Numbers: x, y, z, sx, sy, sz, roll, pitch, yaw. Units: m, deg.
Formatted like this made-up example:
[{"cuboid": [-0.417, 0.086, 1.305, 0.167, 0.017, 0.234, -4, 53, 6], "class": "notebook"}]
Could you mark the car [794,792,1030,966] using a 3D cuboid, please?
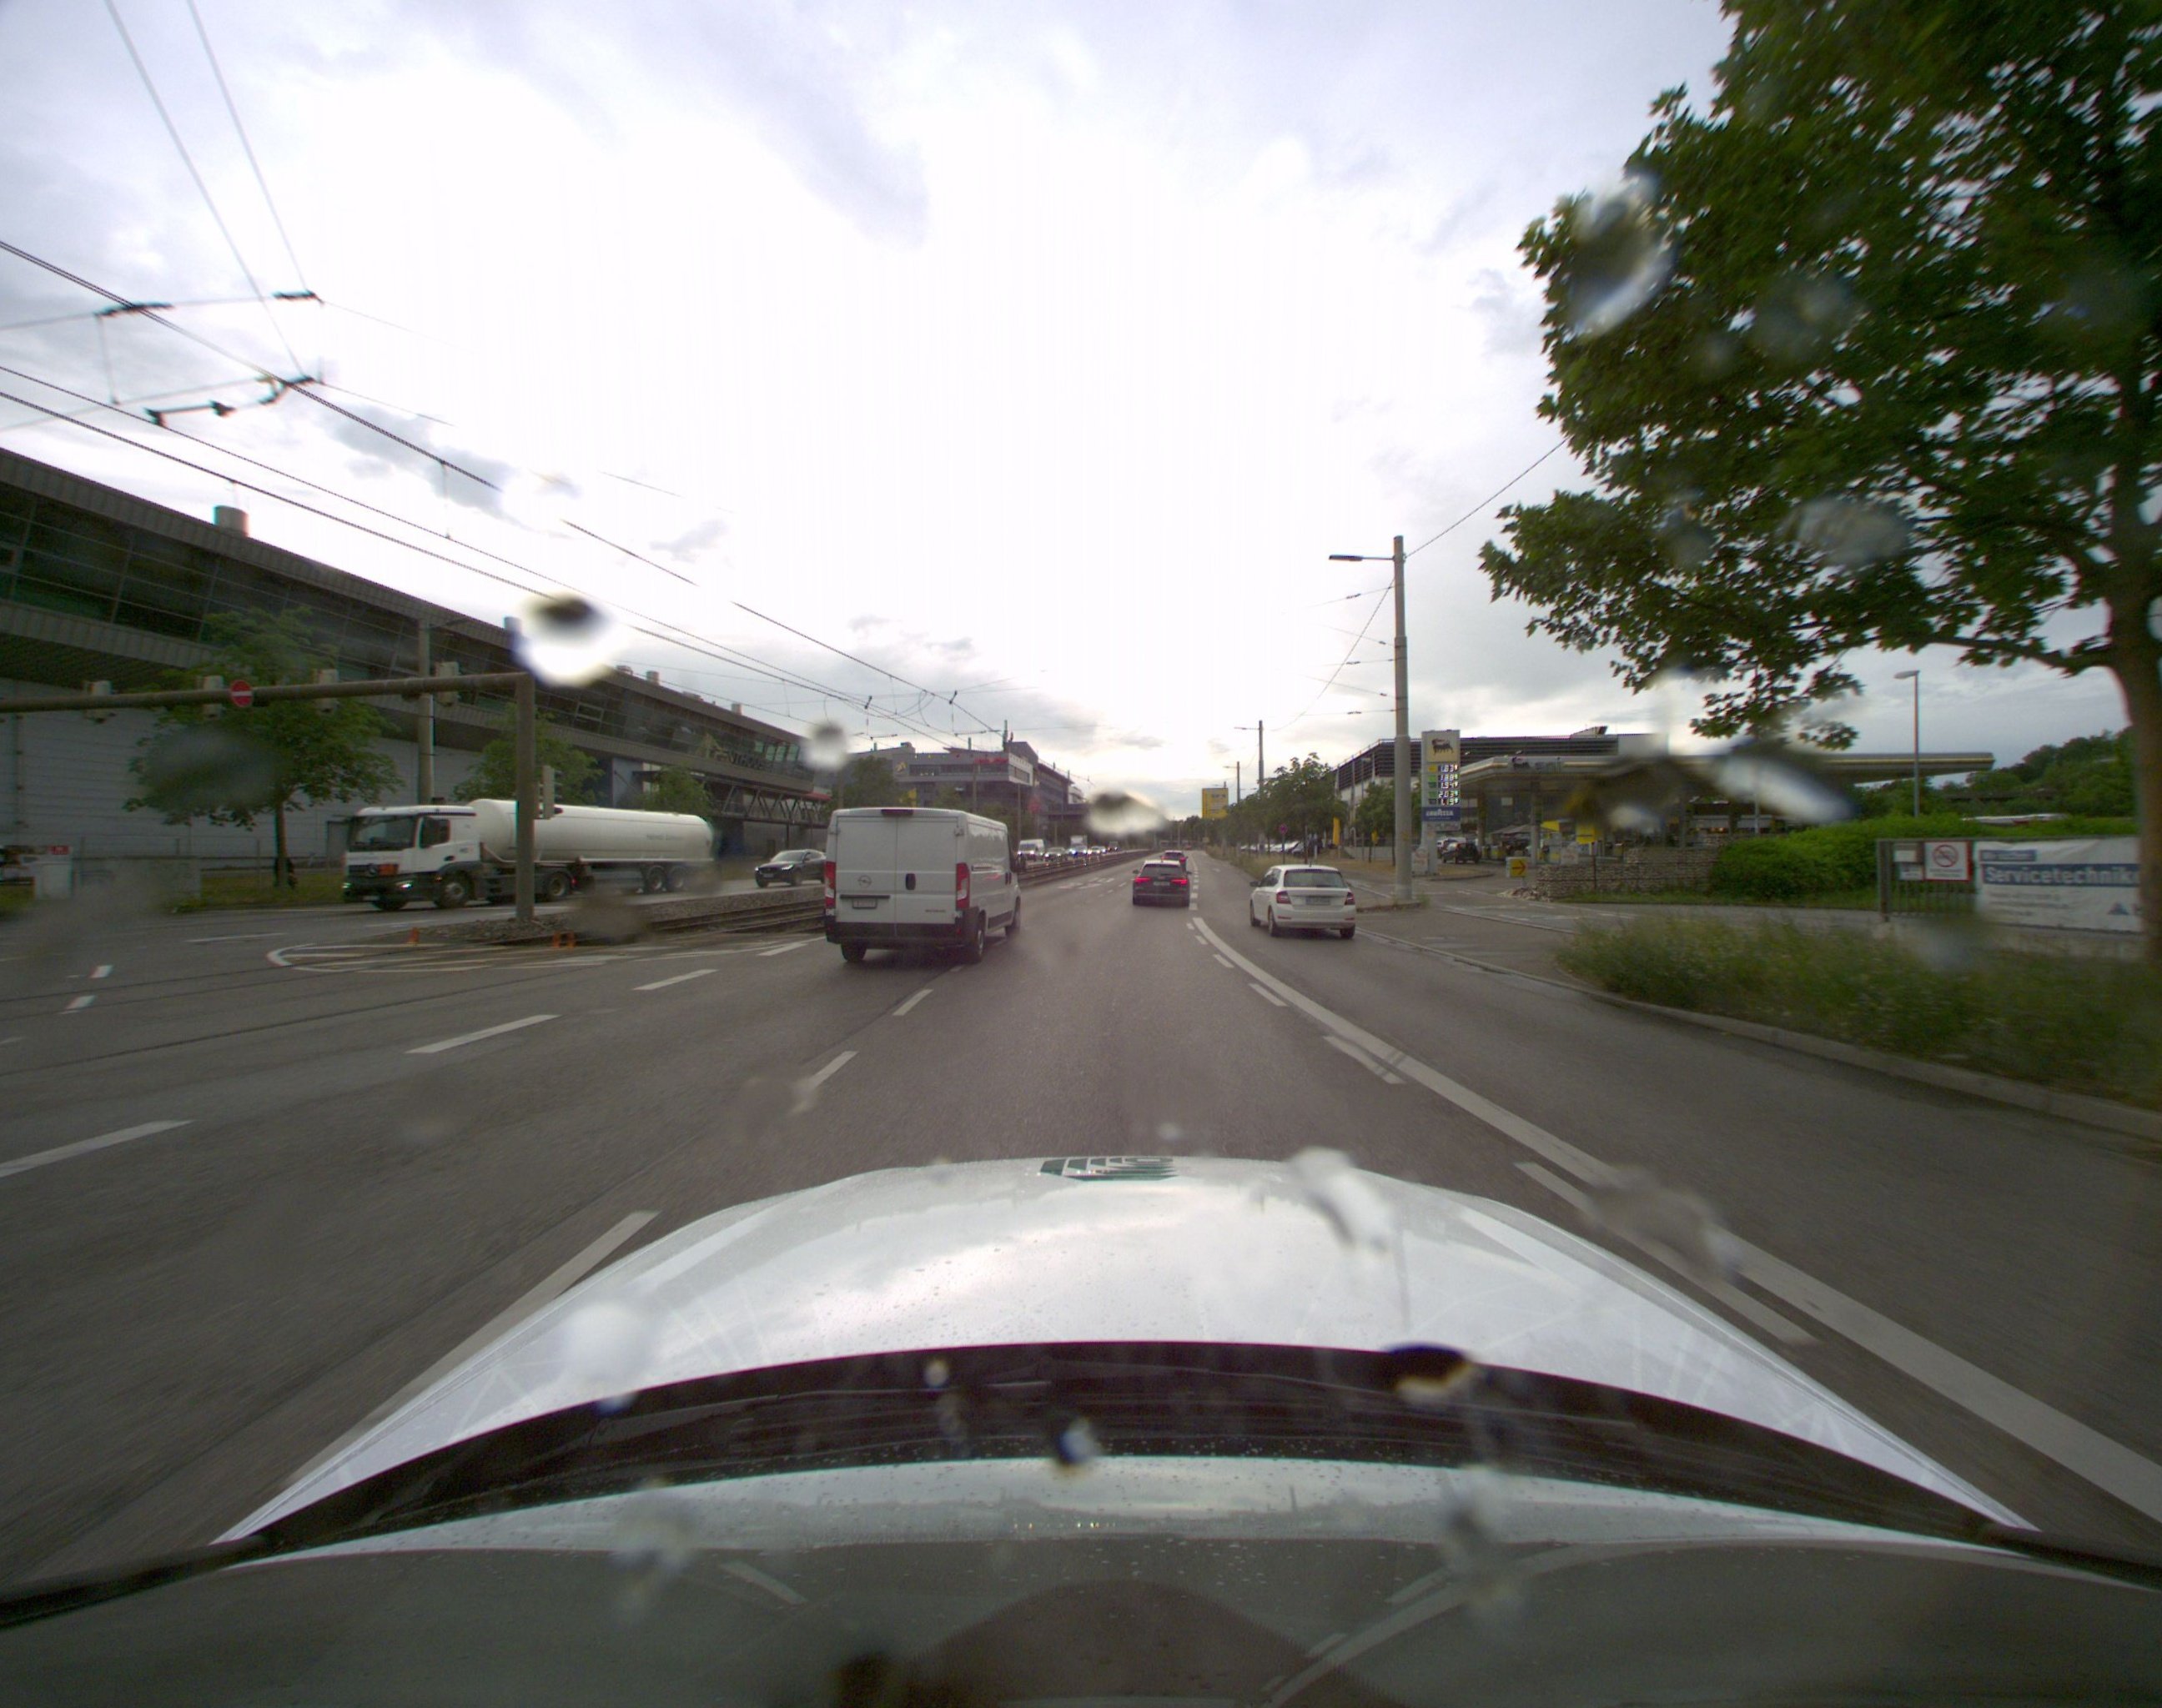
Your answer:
[{"cuboid": [-2.420, 0.324, 13.296, 2.434, 2.294, 4.911, 0, 0, 5], "class": "car"}]

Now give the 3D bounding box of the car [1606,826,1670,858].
[{"cuboid": [37.172, -0.823, 54.469, 1.862, 2.013, 3.778, 2, 1, 4], "class": "car"}]

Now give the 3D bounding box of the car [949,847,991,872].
[{"cuboid": [-8.819, 0.395, 65.163, 1.789, 1.928, 4.818, -1, 0, 11], "class": "car"}]

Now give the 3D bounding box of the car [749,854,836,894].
[{"cuboid": [-13.185, 0.863, 37.473, 1.911, 1.652, 4.208, 1, 0, 10], "class": "car"}]

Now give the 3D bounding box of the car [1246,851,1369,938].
[{"cuboid": [4.761, 0.767, 17.642, 1.820, 1.656, 4.005, 1, 0, 4], "class": "car"}]

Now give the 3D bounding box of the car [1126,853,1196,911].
[{"cuboid": [2.512, 0.843, 26.608, 1.986, 1.637, 4.002, 2, 1, 2], "class": "car"}]

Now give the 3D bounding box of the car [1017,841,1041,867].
[{"cuboid": [-5.773, -0.001, 90.993, 2.150, 2.722, 5.069, 2, 1, 2], "class": "car"}]

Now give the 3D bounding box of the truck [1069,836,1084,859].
[{"cuboid": [-0.669, -1.038, 130.705, 2.150, 3.645, 6.877, 2, 1, 2], "class": "truck"}]

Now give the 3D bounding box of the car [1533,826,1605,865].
[{"cuboid": [27.177, -0.491, 45.538, 1.983, 2.032, 4.008, -1, 0, 7], "class": "car"}]

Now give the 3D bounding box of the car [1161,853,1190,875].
[{"cuboid": [6.650, 0.665, 56.907, 1.883, 1.465, 3.918, 0, 0, 8], "class": "car"}]

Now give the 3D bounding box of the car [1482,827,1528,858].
[{"cuboid": [28.432, -0.763, 54.708, 1.669, 2.013, 3.551, 2, 1, 9], "class": "car"}]

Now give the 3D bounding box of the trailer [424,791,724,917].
[{"cuboid": [-18.275, 0.019, 30.932, 2.708, 3.854, 11.261, -2, 0, 10], "class": "trailer"}]

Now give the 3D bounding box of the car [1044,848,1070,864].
[{"cuboid": [-2.585, 0.204, 88.743, 1.789, 1.620, 4.971, -1, 0, 11], "class": "car"}]

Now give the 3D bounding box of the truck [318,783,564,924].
[{"cuboid": [-19.341, 0.011, 25.070, 2.729, 3.805, 5.427, -2, 0, 10], "class": "truck"}]

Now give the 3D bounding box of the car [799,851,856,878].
[{"cuboid": [-14.733, 0.581, 47.599, 1.554, 1.510, 4.001, 0, 0, 9], "class": "car"}]

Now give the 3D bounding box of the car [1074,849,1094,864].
[{"cuboid": [0.428, 0.344, 109.129, 2.148, 1.885, 4.308, 2, 1, 5], "class": "car"}]

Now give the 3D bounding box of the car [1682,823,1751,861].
[{"cuboid": [35.696, -0.684, 45.811, 1.666, 2.013, 3.144, 2, 1, 7], "class": "car"}]

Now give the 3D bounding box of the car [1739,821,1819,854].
[{"cuboid": [46.113, -1.078, 53.937, 1.985, 2.013, 4.004, 2, 1, 4], "class": "car"}]
